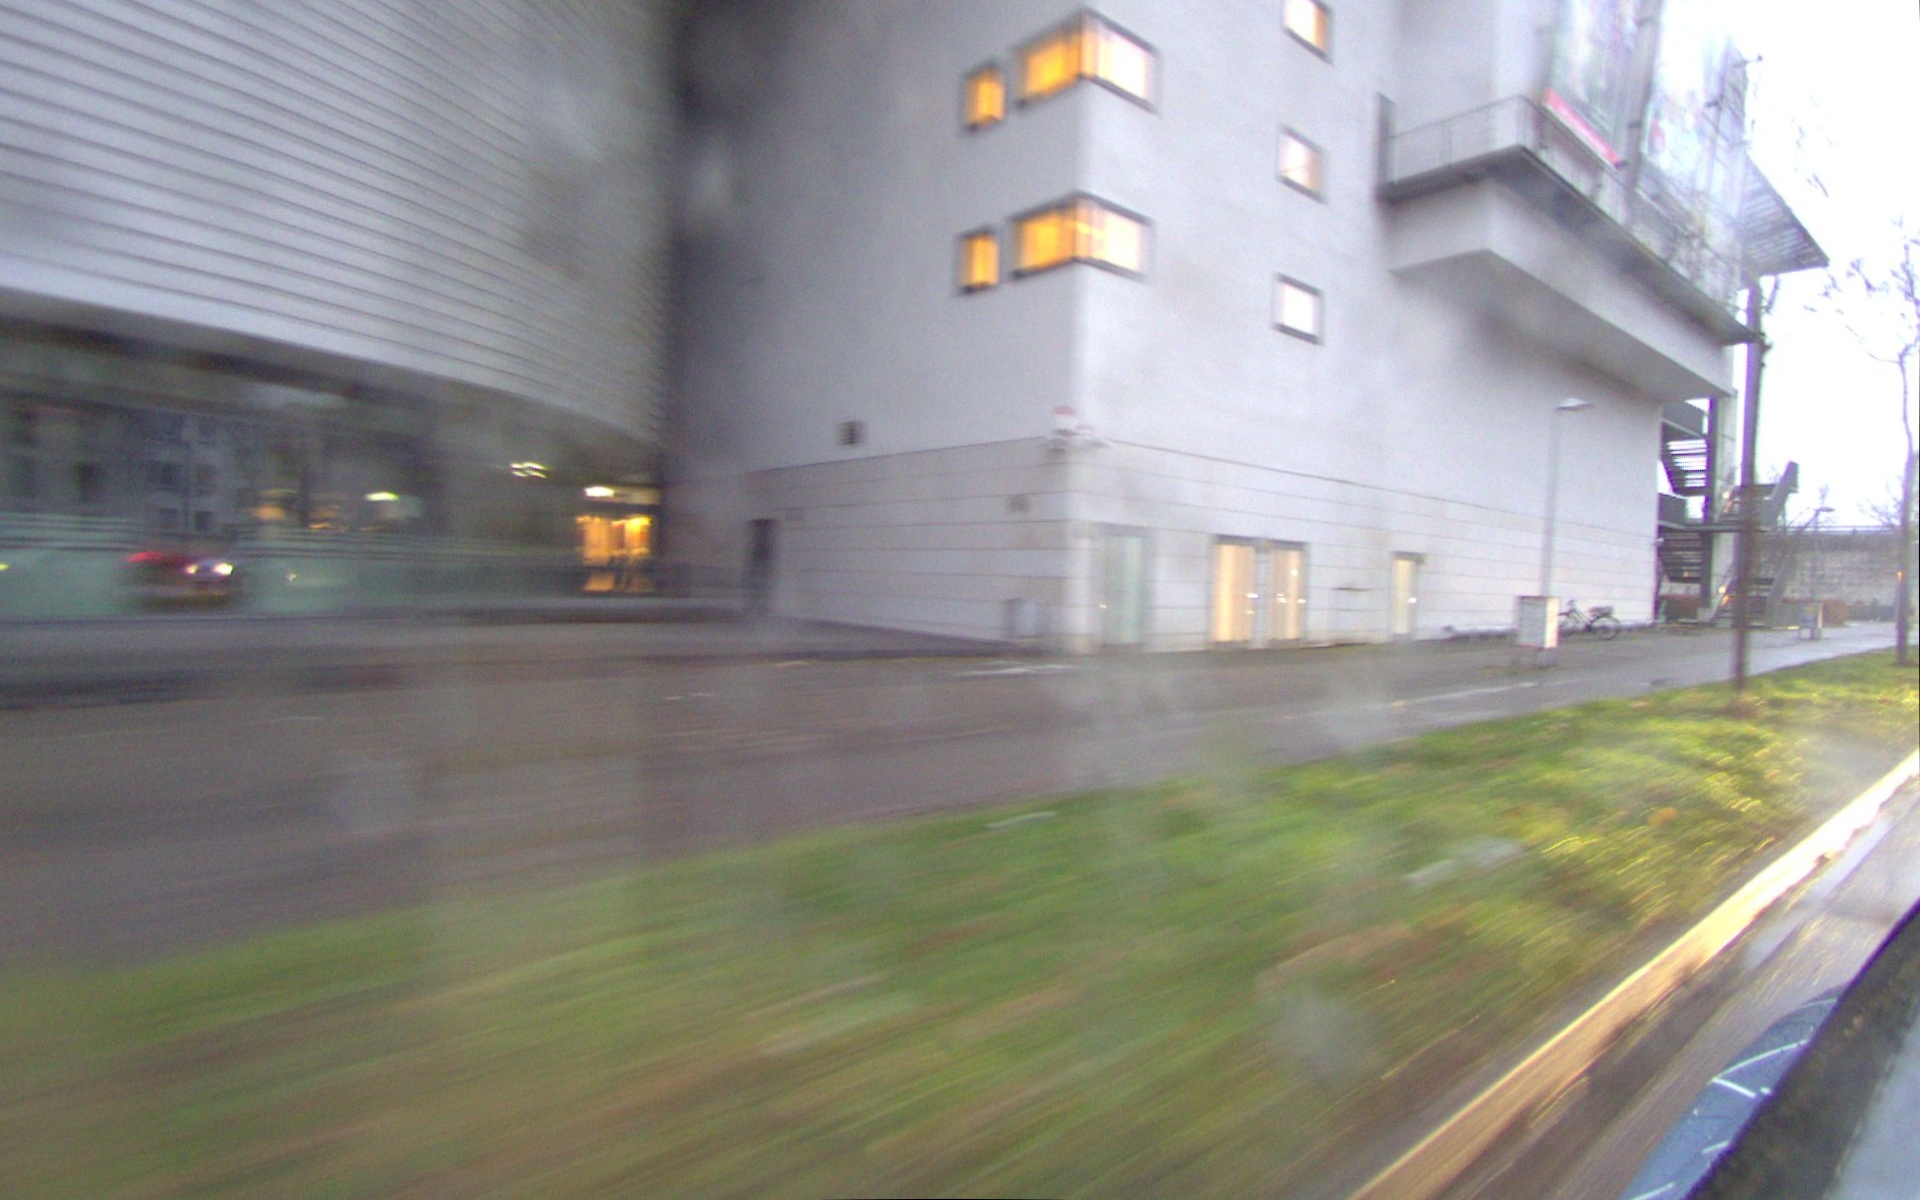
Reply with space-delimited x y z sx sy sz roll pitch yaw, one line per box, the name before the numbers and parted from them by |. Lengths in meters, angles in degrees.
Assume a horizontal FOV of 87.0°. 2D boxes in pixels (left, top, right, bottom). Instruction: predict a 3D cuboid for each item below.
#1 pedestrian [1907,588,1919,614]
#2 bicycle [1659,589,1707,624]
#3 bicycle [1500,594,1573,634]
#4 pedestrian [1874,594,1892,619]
pedestrian | 67.549 0.058 71.543 0.602 1.800 0.676 0 -1 -27
bicycle | 27.045 0.231 37.865 1.708 1.301 0.412 0 -1 -13
bicycle | 16.975 0.392 29.839 0.390 1.065 1.812 1 2 -42
pedestrian | 61.120 0.413 67.033 0.601 1.646 0.676 0 -1 -25
